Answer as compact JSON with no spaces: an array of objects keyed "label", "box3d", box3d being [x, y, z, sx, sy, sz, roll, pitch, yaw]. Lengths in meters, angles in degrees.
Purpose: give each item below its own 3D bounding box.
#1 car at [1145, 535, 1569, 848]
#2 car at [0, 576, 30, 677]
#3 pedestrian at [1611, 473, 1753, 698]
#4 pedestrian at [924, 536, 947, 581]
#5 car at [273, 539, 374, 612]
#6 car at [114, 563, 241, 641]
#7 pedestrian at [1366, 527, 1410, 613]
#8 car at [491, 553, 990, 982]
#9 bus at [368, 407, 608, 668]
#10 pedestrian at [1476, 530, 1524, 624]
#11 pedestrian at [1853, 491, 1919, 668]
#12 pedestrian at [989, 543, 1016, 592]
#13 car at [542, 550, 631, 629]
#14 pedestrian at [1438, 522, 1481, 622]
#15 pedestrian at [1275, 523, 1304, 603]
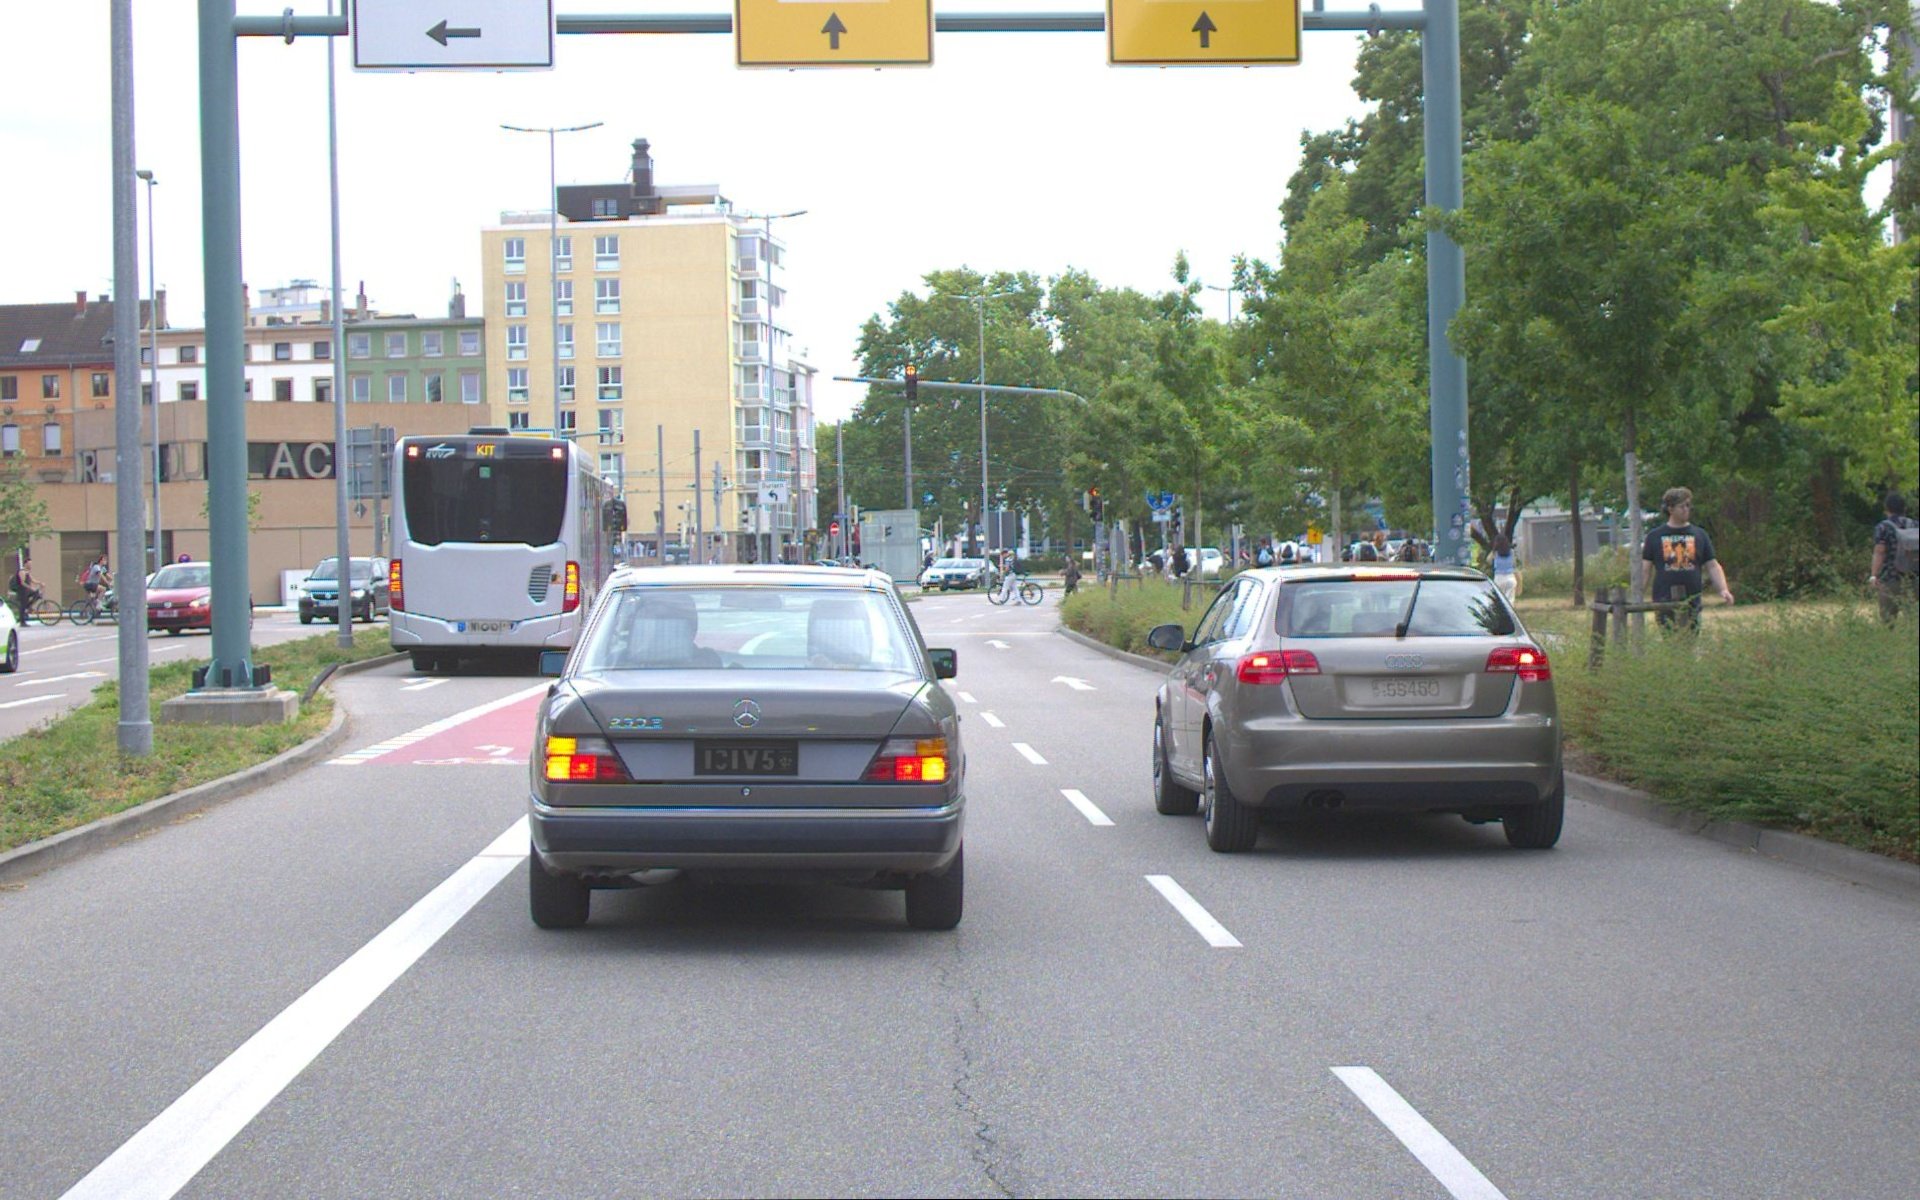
[{"label":"car","box3d":[1.985,0.401,18.163,1.724,1.452,3.736,-1,1,-1]},{"label":"car","box3d":[-15.157,0.423,50.670,1.801,1.484,4.416,-1,1,-2]},{"label":"pedestrian","box3d":[5.979,-0.123,28.441,0.935,1.824,0.886,-1,1,25]},{"label":"pedestrian","box3d":[-1.114,-1.893,156.324,0.975,2.007,0.980,-1,1,-1]},{"label":"car","box3d":[-15.686,-0.636,84.951,1.801,1.660,4.301,-3,1,-3]},{"label":"car","box3d":[-16.023,0.010,70.572,1.801,1.484,4.289,-1,1,-3]},{"label":"pedestrian","box3d":[8.662,-0.617,69.529,0.802,1.707,0.764,-1,1,11]},{"label":"car","box3d":[-0.959,0.569,14.411,1.761,1.484,4.172,-1,1,-5]},{"label":"bus","box3d":[-6.622,-0.901,49.312,2.831,3.379,8.184,-1,1,-4]},{"label":"pedestrian","box3d":[8.536,-0.370,54.355,0.657,1.465,0.561,-1,1,15]},{"label":"pedestrian","box3d":[9.013,-0.201,33.098,0.587,1.677,0.748,-1,1,-2]},{"label":"pedestrian","box3d":[1.383,-1.044,111.053,0.555,1.587,0.632,-1,-1,-41]},{"label":"car","box3d":[-7.389,-0.230,68.233,1.655,1.391,3.861,-1,2,-5]},{"label":"pedestrian","box3d":[8.646,-0.486,59.509,0.647,1.707,0.561,-1,1,13]},{"label":"pedestrian","box3d":[8.258,-0.930,86.122,0.614,2.007,0.597,-1,1,-3]}]
